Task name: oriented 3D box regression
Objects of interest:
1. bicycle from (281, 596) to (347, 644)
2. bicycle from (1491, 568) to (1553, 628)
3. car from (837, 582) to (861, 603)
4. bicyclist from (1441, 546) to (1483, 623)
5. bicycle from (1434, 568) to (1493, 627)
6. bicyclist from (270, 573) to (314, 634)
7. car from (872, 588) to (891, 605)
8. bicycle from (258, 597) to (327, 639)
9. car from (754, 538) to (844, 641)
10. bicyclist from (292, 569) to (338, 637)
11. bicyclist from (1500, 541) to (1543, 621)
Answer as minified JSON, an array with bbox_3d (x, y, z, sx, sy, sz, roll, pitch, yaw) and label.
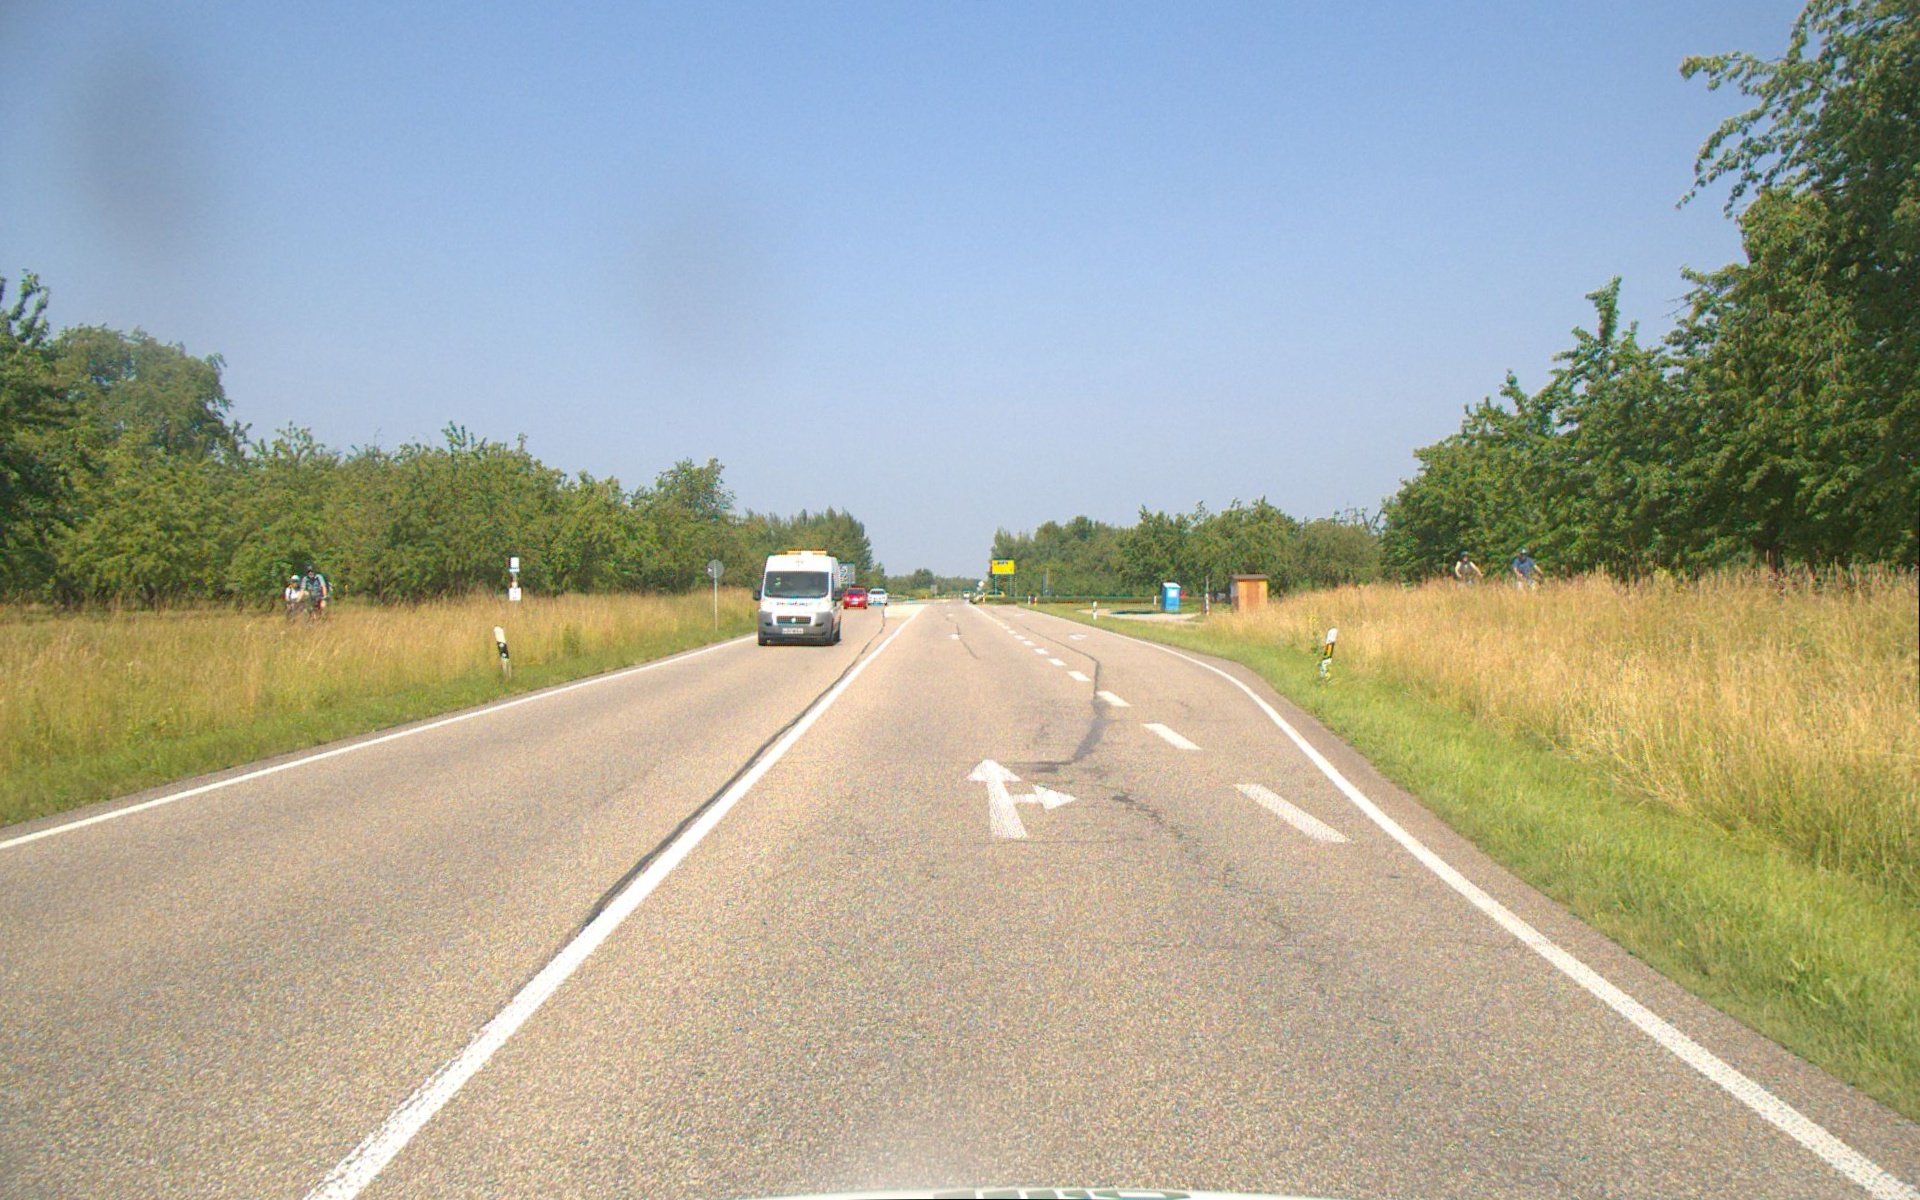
[{"bbox_3d":[-13.831,0.435,35.456,0.635,1.006,1.955,0,-1,0],"label":"bicycle"},{"bbox_3d":[14.073,-0.068,41.469,0.734,1.443,2.221,-2,0,-1],"label":"bicycle"},{"bbox_3d":[-7.828,-0.543,117.172,1.592,1.482,3.620,0,0,-2],"label":"car"},{"bbox_3d":[12.678,-0.401,41.759,0.734,1.899,0.869,-2,0,-1],"label":"bicyclist"},{"bbox_3d":[12.684,-0.067,41.740,0.734,1.443,2.221,-2,0,-1],"label":"bicycle"},{"bbox_3d":[-16.489,0.095,40.826,0.849,1.480,0.738,-1,-1,43],"label":"bicyclist"},{"bbox_3d":[-7.161,-0.365,151.093,1.641,1.520,4.135,0,0,-3],"label":"car"},{"bbox_3d":[-16.476,0.438,40.796,2.187,1.006,0.738,-1,-1,44],"label":"bicycle"},{"bbox_3d":[-4.450,-0.270,46.630,2.117,2.715,6.141,0,0,-2],"label":"car"},{"bbox_3d":[-13.829,0.073,35.470,0.628,1.439,0.863,0,-1,0],"label":"bicyclist"},{"bbox_3d":[14.070,-0.474,41.478,0.734,1.963,0.827,-2,0,-1],"label":"bicyclist"}]
